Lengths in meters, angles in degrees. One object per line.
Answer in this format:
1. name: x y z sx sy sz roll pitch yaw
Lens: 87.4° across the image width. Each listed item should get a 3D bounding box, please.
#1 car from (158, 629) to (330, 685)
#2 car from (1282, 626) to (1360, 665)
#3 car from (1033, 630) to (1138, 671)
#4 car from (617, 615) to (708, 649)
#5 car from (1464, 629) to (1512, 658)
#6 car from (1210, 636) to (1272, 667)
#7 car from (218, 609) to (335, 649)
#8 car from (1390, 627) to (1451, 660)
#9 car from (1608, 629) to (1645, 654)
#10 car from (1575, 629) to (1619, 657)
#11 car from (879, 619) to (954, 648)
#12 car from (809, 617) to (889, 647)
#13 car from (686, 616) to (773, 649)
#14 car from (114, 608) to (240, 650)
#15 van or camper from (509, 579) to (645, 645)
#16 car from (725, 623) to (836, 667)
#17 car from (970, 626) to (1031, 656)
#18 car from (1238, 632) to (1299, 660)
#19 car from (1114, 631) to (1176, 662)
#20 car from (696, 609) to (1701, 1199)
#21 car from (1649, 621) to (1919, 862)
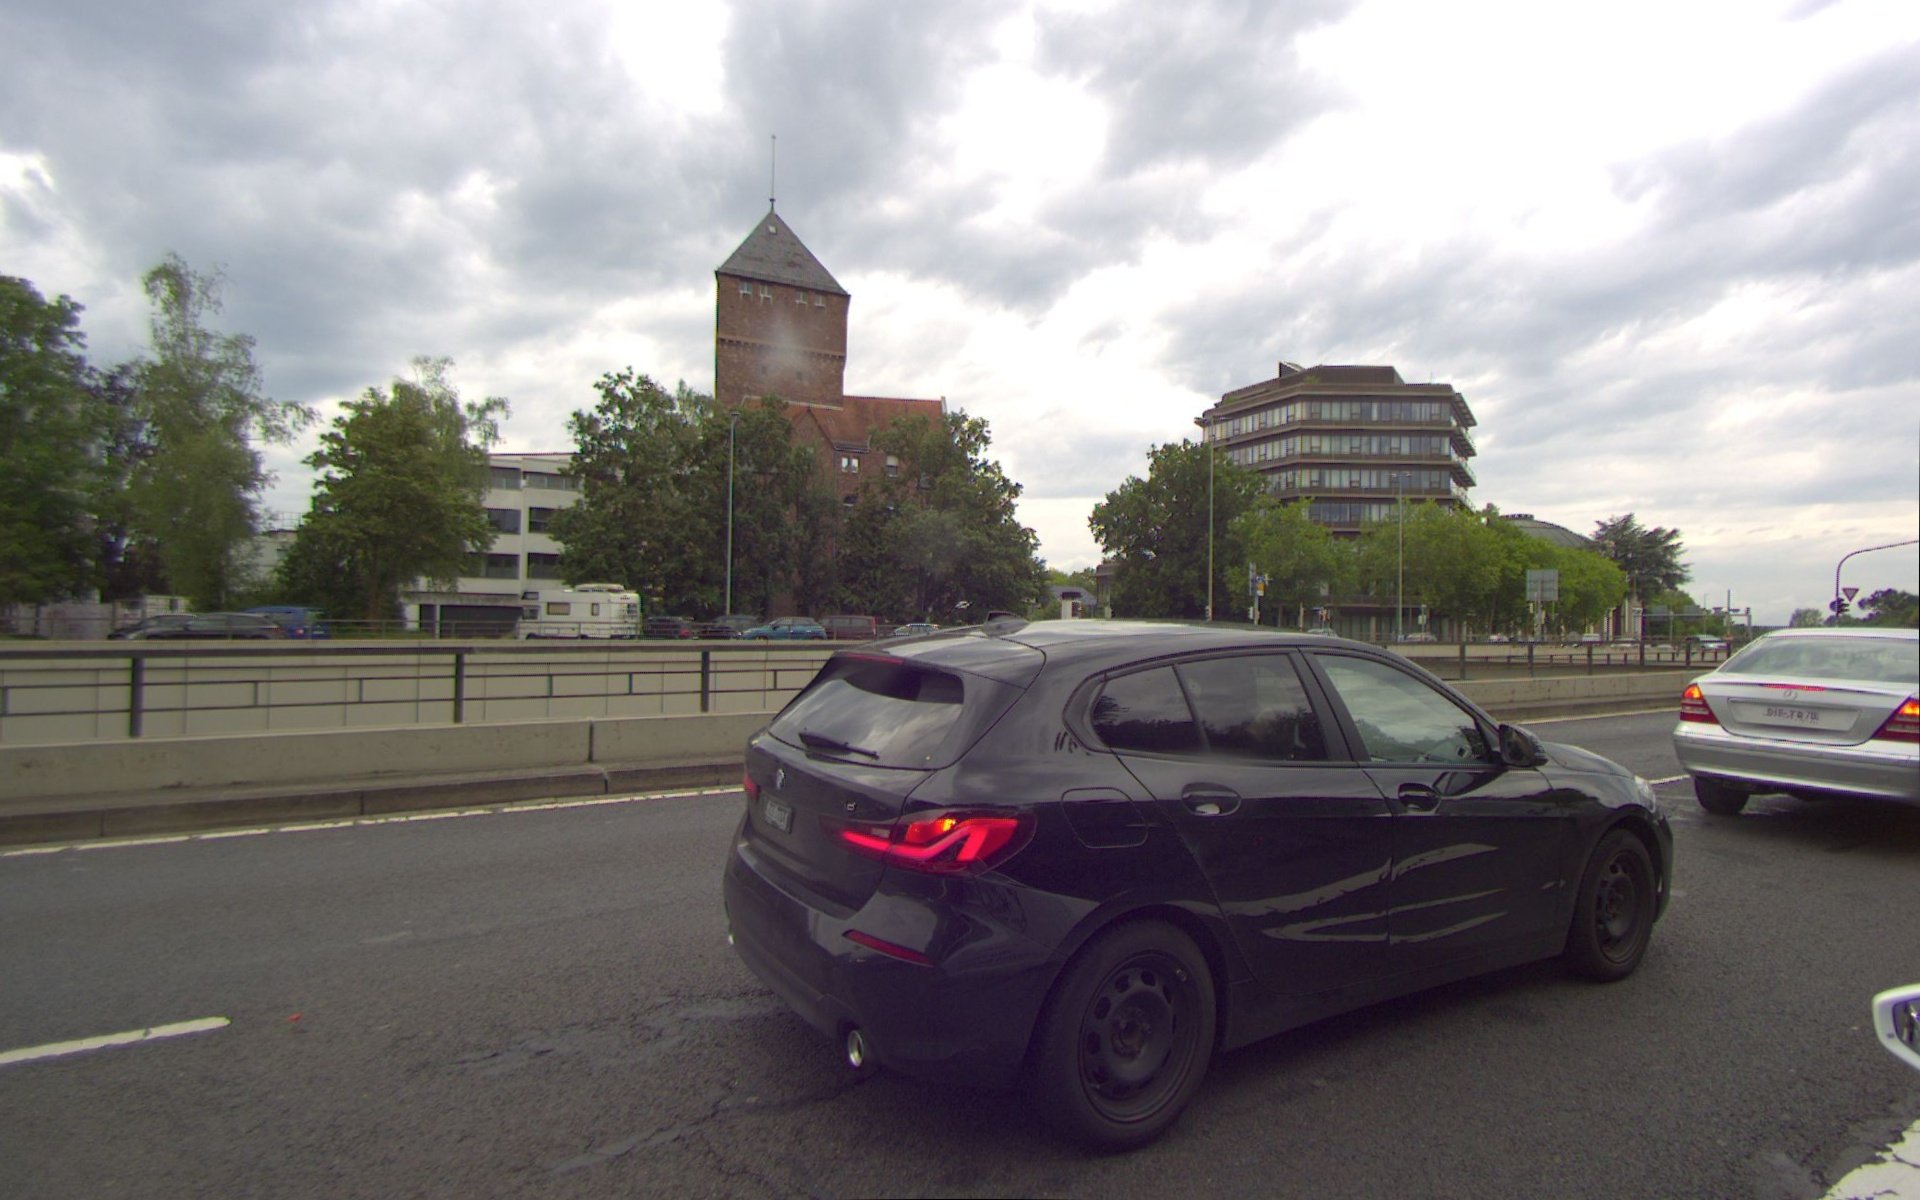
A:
1. car: -22.884 1.795 32.315 4.303 1.648 1.875 1 -1 -30
2. car: 24.060 2.985 66.952 5.173 2.493 2.320 1 -1 -35
3. car: 6.553 2.570 52.201 5.172 1.975 2.321 1 -1 -34
4. car: -14.406 1.532 48.660 3.919 1.460 1.630 1 0 12
5. car: 47.757 3.925 90.822 5.191 2.493 2.313 1 -1 -44
6. car: 24.262 4.400 86.718 5.122 2.493 2.343 0 0 18
7. car: -27.571 1.150 40.525 3.919 1.460 1.630 1 0 12
8. car: 35.969 3.352 78.378 5.182 2.493 2.316 1 -1 -39
9. car: 72.318 4.466 108.985 5.191 2.493 2.313 1 -1 -44
10. car: 60.299 4.067 95.044 5.191 2.493 2.313 1 -1 -44
11. car: -2.426 1.849 56.291 3.919 1.460 1.630 1 0 12
12. car: -5.941 1.680 53.962 3.919 1.460 1.630 1 0 12
13. car: -11.581 1.615 50.500 3.919 1.460 1.630 1 0 12
14. car: -29.812 1.080 38.268 3.919 1.460 1.630 1 0 12
15. van or camper: -17.784 0.510 46.645 5.807 2.847 2.146 1 0 18
16. car: -7.548 1.865 42.324 4.241 1.736 1.841 1 -1 -30
17. car: 3.624 3.610 88.574 5.120 2.493 2.344 1 0 10
18. car: 28.511 4.252 93.113 5.120 2.493 2.344 1 0 10
19. car: 15.660 3.894 85.240 5.120 2.493 2.344 1 0 10
20. car: 1.140 0.795 4.030 3.956 1.413 1.615 2 0 -32
21. car: 7.258 0.919 7.776 4.261 1.413 1.615 2 0 -32
